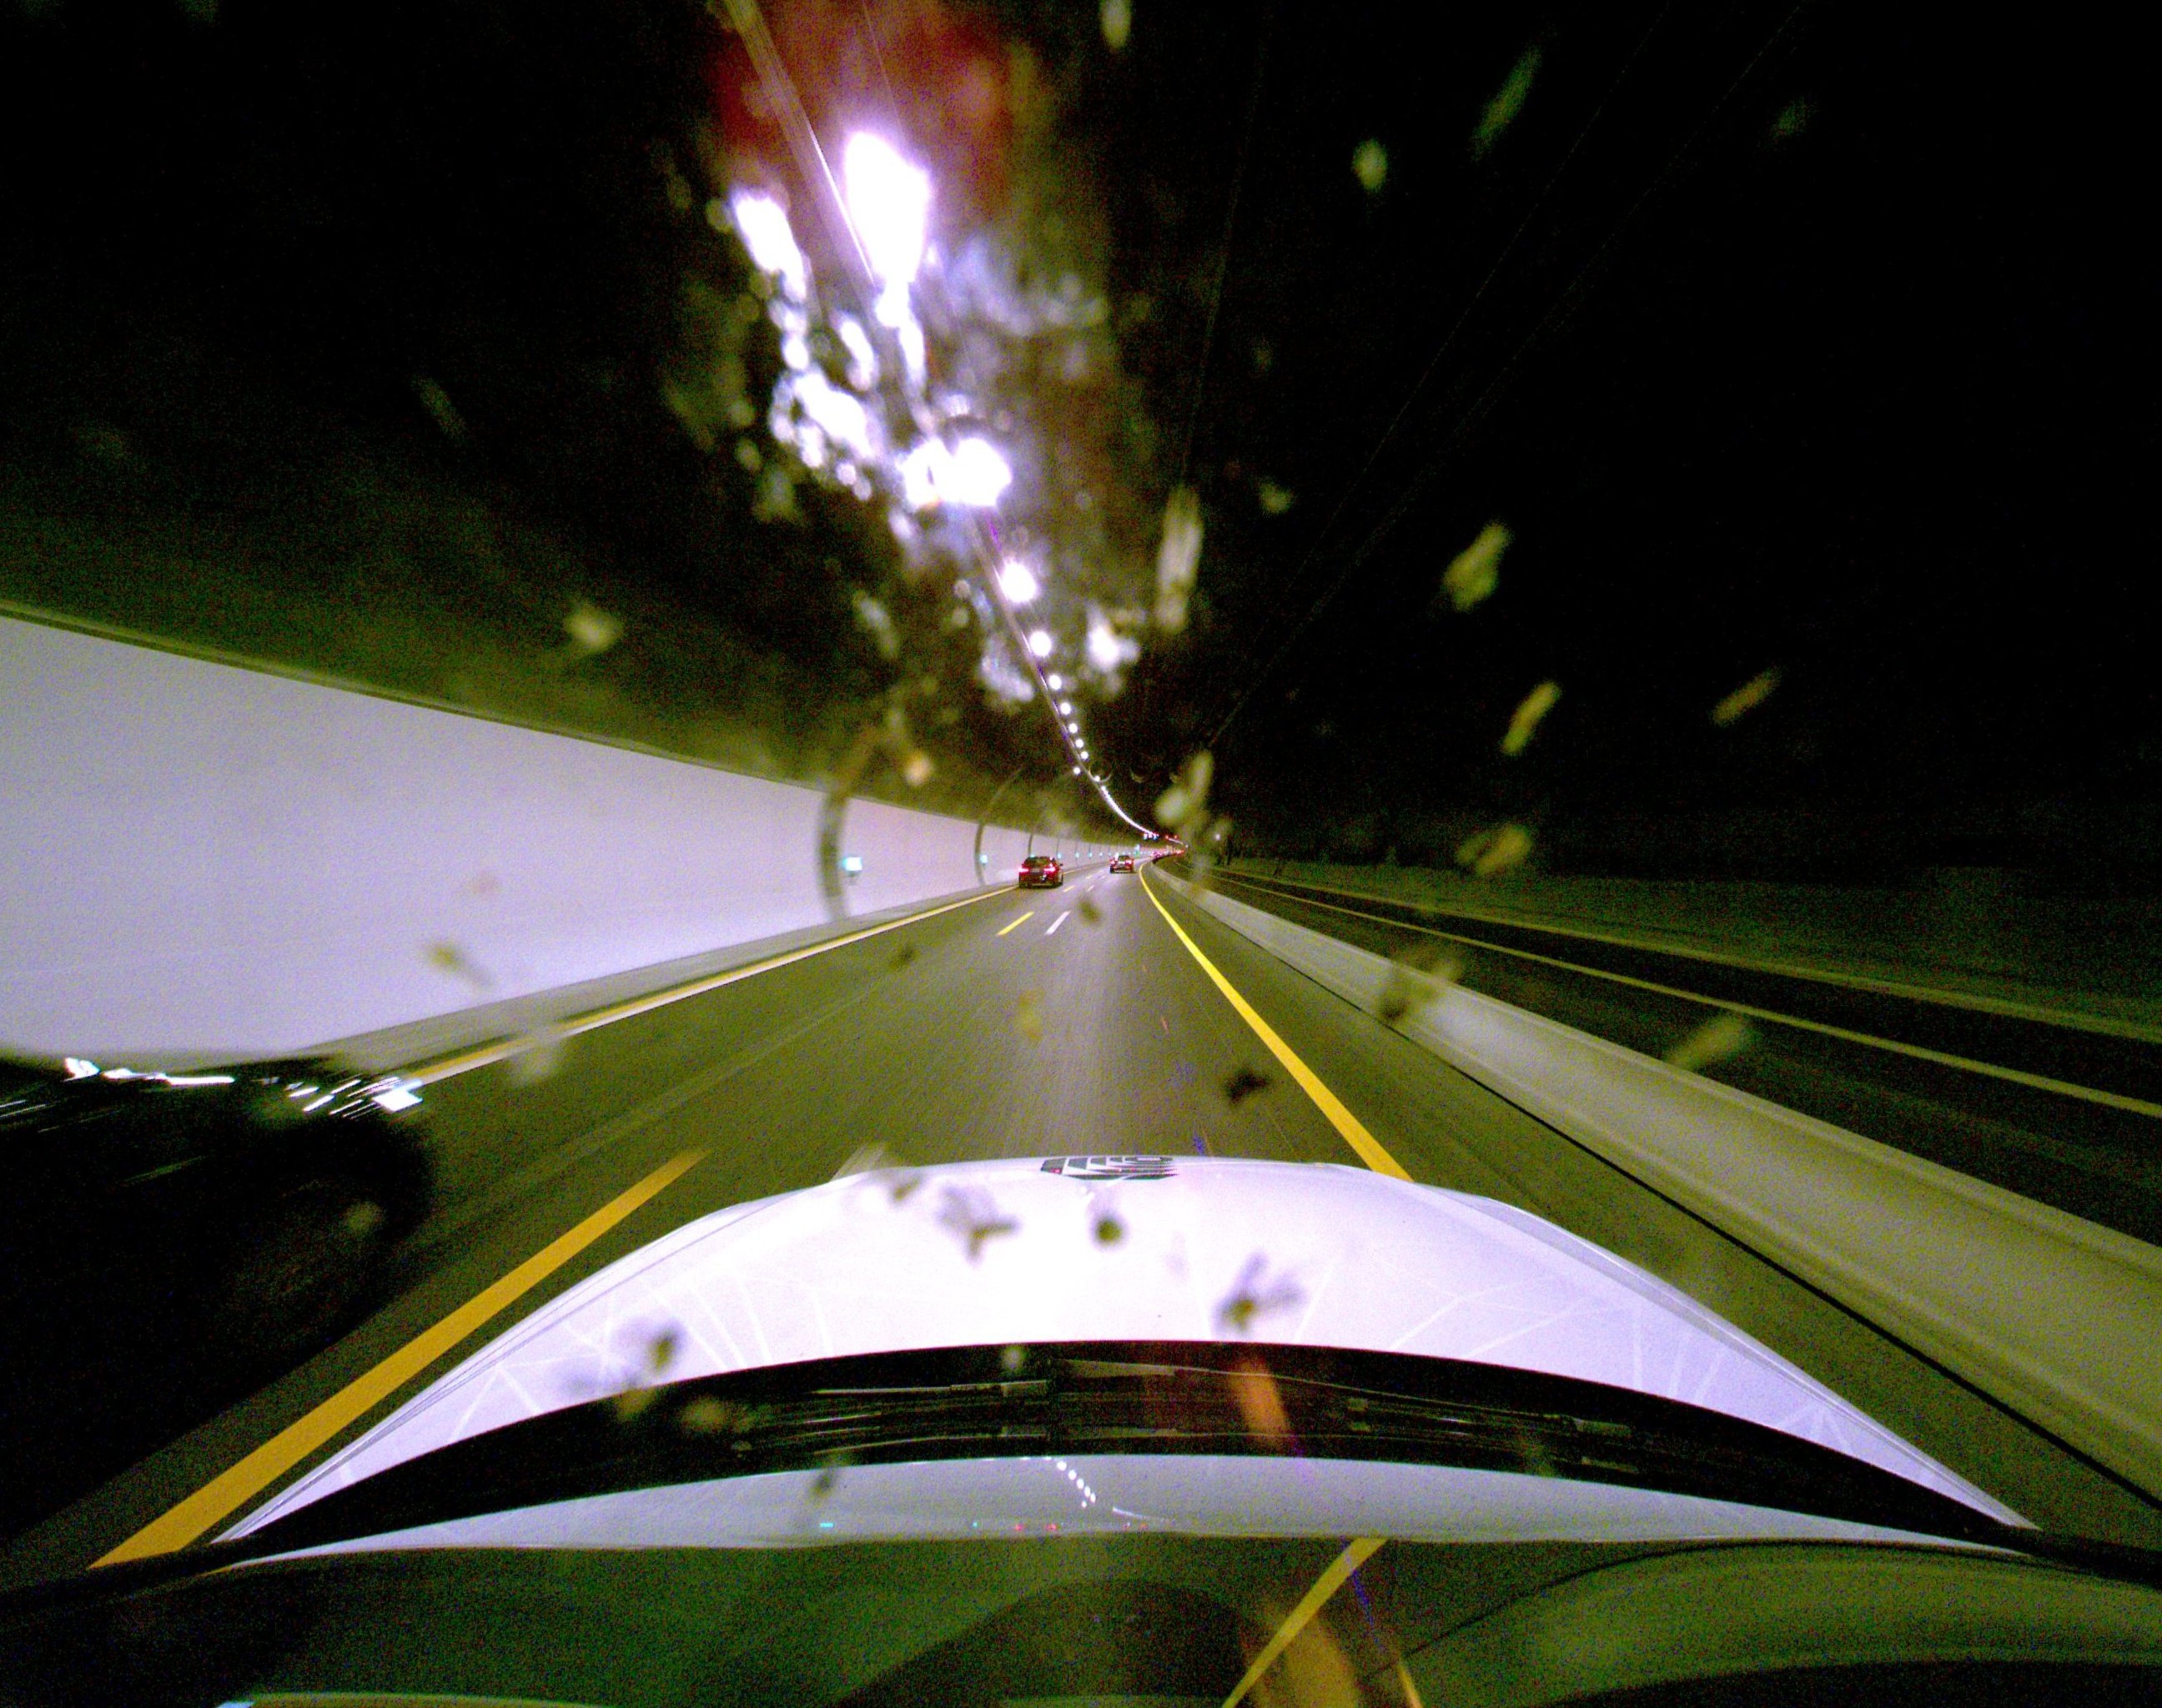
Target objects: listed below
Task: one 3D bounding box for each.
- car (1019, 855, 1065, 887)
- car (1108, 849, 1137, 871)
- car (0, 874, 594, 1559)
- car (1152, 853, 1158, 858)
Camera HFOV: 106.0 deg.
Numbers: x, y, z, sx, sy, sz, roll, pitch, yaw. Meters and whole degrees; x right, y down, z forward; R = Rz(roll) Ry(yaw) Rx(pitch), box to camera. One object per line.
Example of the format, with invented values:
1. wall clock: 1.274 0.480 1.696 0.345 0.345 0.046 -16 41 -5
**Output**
1. car: -1.811 0.776 39.049 1.771 1.438 4.886 0 0 2
2. car: 3.395 0.489 65.753 2.130 1.706 4.006 -1 0 5
3. car: -3.257 0.819 1.382 1.771 1.438 4.885 0 0 2
4. car: 20.194 0.484 222.346 1.586 1.333 3.760 0 0 9
